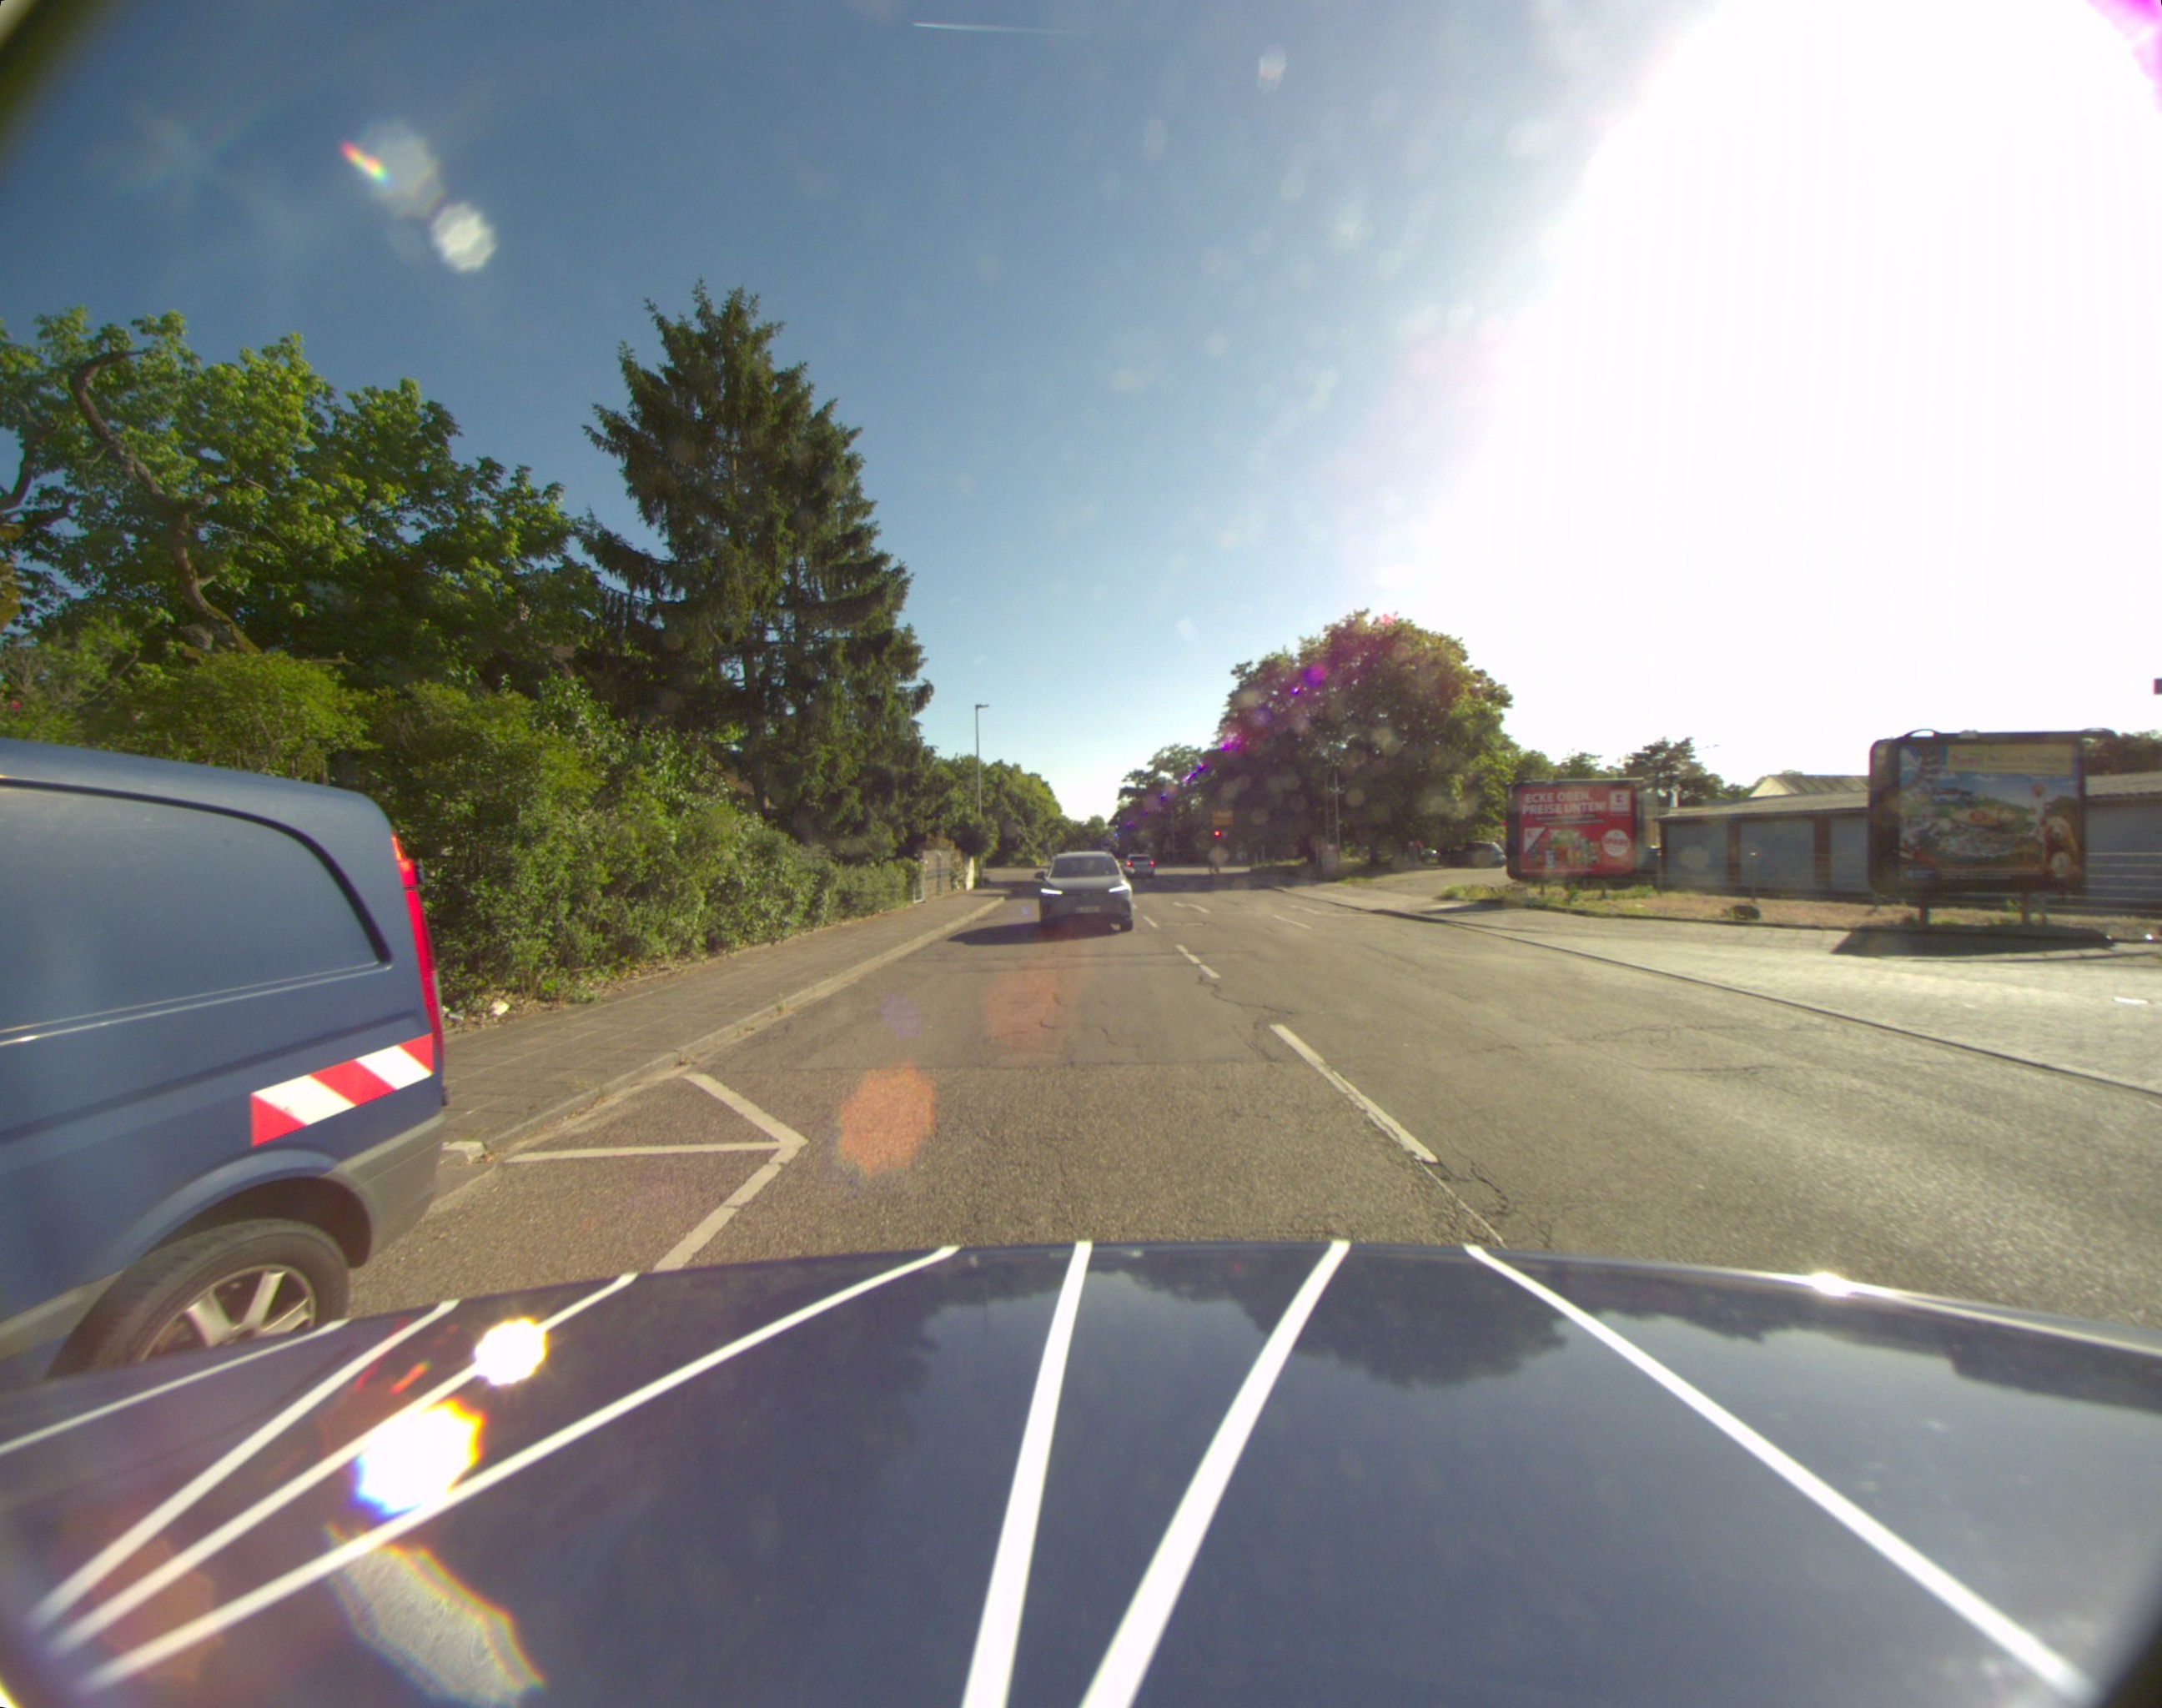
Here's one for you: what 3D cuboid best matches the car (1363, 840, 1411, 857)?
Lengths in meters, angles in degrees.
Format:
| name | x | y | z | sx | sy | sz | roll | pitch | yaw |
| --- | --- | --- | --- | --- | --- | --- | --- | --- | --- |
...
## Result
| name | x | y | z | sx | sy | sz | roll | pitch | yaw |
| --- | --- | --- | --- | --- | --- | --- | --- | --- | --- |
| car | 28.519 | -0.504 | 70.822 | 3.913 | 1.432 | 1.690 | -2 | 3 | -12 |

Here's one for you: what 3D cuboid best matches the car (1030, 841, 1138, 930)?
| name | x | y | z | sx | sy | sz | roll | pitch | yaw |
| --- | --- | --- | --- | --- | --- | --- | --- | --- | --- |
| car | 0.141 | 0.563 | 16.524 | 1.992 | 1.631 | 4.364 | -1 | 1 | 2 |

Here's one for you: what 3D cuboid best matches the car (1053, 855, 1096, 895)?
| name | x | y | z | sx | sy | sz | roll | pitch | yaw |
| --- | --- | --- | --- | --- | --- | --- | --- | --- | --- |
| car | -0.314 | 0.858 | 33.199 | 1.692 | 1.564 | 4.120 | -2 | 0 | -1 |

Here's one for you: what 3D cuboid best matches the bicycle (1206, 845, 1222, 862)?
| name | x | y | z | sx | sy | sz | roll | pitch | yaw |
| --- | --- | --- | --- | --- | --- | --- | --- | --- | --- |
| bicycle | 9.109 | -0.039 | 52.146 | 0.529 | 1.135 | 2.025 | -1 | 0 | -5 |

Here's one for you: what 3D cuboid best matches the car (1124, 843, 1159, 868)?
| name | x | y | z | sx | sy | sz | roll | pitch | yaw |
| --- | --- | --- | --- | --- | --- | --- | --- | --- | --- |
| car | 3.721 | 0.098 | 47.678 | 1.841 | 1.480 | 4.889 | 0 | 0 | 0 |

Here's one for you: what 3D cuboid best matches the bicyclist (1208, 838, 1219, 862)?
| name | x | y | z | sx | sy | sz | roll | pitch | yaw |
| --- | --- | --- | --- | --- | --- | --- | --- | --- | --- |
| bicyclist | 9.110 | -0.282 | 52.269 | 0.542 | 1.632 | 0.829 | -1 | 1 | -5 |

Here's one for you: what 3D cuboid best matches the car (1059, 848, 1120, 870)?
| name | x | y | z | sx | sy | sz | roll | pitch | yaw |
| --- | --- | --- | --- | --- | --- | --- | --- | --- | --- |
| car | 0.709 | 0.432 | 64.615 | 4.867 | 1.830 | 1.862 | 0 | 0 | -11 |

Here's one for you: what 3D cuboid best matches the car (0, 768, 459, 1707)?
| name | x | y | z | sx | sy | sz | roll | pitch | yaw |
| --- | --- | --- | --- | --- | --- | --- | --- | --- | --- |
| car | -3.112 | 0.802 | 0.233 | 1.841 | 1.896 | 4.698 | -1 | 1 | 2 |

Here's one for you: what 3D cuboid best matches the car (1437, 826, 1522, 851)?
| name | x | y | z | sx | sy | sz | roll | pitch | yaw |
| --- | --- | --- | --- | --- | --- | --- | --- | --- | --- |
| car | 23.170 | -0.935 | 44.248 | 1.763 | 1.368 | 3.988 | -2 | 3 | -35 |
